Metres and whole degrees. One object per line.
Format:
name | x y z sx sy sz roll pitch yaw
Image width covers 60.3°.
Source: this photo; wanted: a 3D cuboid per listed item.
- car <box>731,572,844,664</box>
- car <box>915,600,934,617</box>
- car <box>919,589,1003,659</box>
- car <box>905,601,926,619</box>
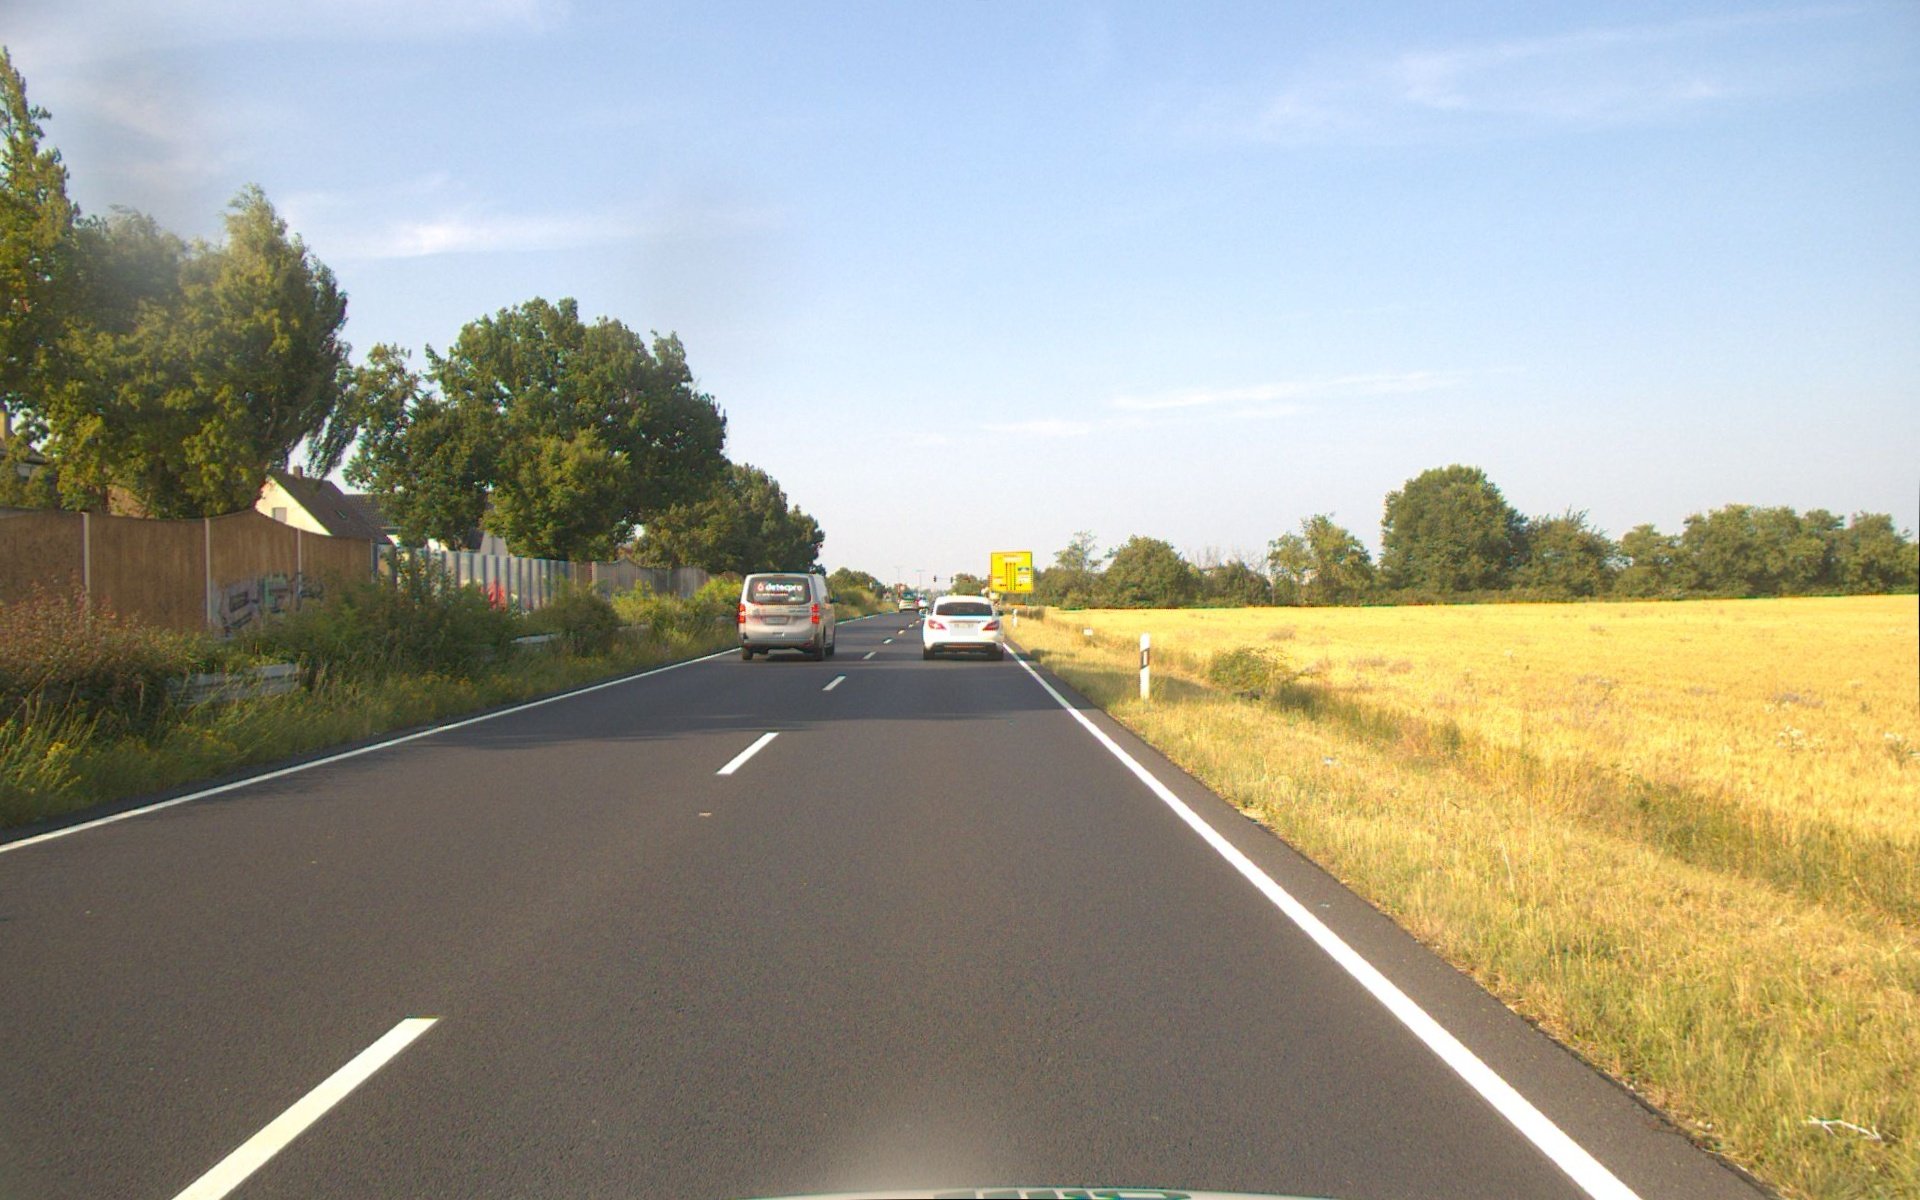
car | -3.849 0.366 37.697 1.984 1.925 4.958 1 0 0
car | -3.627 0.840 169.101 1.839 1.680 3.662 1 0 -2
car | -0.002 0.545 38.659 1.856 1.535 3.999 0 0 -1
car | -3.795 0.835 141.502 1.682 1.518 3.584 1 0 0
